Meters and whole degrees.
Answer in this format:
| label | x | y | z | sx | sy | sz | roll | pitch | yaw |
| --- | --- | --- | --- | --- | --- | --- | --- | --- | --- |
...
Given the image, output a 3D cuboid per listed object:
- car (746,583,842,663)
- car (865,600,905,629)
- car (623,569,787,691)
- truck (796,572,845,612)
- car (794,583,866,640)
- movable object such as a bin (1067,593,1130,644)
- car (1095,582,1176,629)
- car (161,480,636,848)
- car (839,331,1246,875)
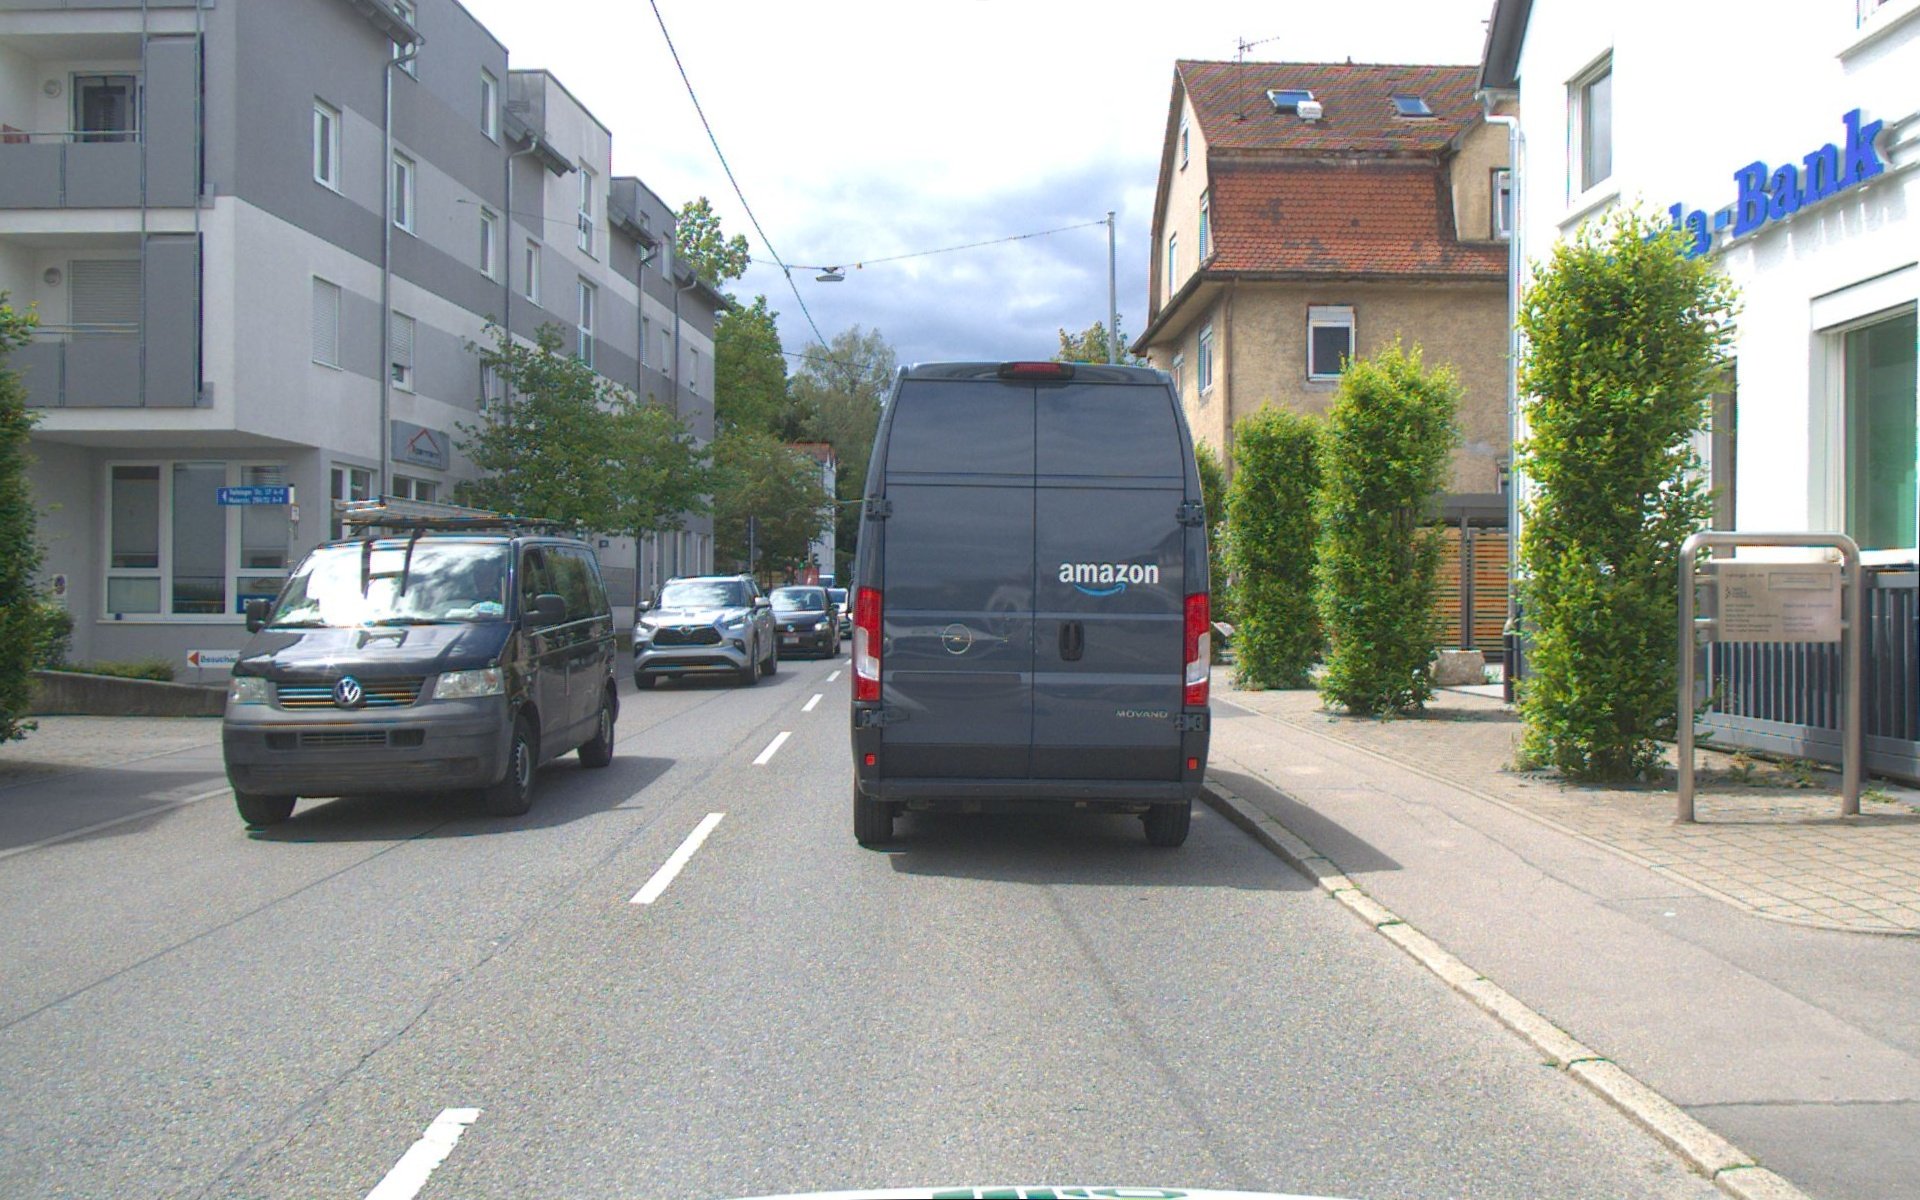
| label | x | y | z | sx | sy | sz | roll | pitch | yaw |
| --- | --- | --- | --- | --- | --- | --- | --- | --- | --- |
| car | -3.595 | 0.473 | 36.399 | 1.795 | 1.612 | 4.036 | -1 | 0 | -2 |
| car | -3.915 | 0.754 | 86.638 | 1.835 | 1.449 | 4.115 | 1 | 0 | 1 |
| car | -4.083 | 0.445 | 27.284 | 1.946 | 1.768 | 4.795 | -2 | 0 | -1 |
| truck | -8.840 | -0.484 | 105.491 | 2.178 | 2.421 | 6.328 | 1 | 0 | 4 |
| car | -3.944 | 0.322 | 50.835 | 1.859 | 1.587 | 4.799 | -2 | 0 | -1 |
| movable object such as a bin | 3.638 | 0.477 | 43.505 | 1.170 | 1.288 | 1.197 | 1 | 0 | -31 |
| car | 6.593 | 0.200 | 61.736 | 1.717 | 1.543 | 4.077 | -3 | 0 | 25 |
| car | -3.863 | 0.364 | 12.441 | 2.069 | 2.189 | 4.880 | -1 | 0 | -3 |
| car | 0.298 | 0.008 | 11.758 | 2.105 | 2.819 | 6.246 | 1 | 0 | -3 |
